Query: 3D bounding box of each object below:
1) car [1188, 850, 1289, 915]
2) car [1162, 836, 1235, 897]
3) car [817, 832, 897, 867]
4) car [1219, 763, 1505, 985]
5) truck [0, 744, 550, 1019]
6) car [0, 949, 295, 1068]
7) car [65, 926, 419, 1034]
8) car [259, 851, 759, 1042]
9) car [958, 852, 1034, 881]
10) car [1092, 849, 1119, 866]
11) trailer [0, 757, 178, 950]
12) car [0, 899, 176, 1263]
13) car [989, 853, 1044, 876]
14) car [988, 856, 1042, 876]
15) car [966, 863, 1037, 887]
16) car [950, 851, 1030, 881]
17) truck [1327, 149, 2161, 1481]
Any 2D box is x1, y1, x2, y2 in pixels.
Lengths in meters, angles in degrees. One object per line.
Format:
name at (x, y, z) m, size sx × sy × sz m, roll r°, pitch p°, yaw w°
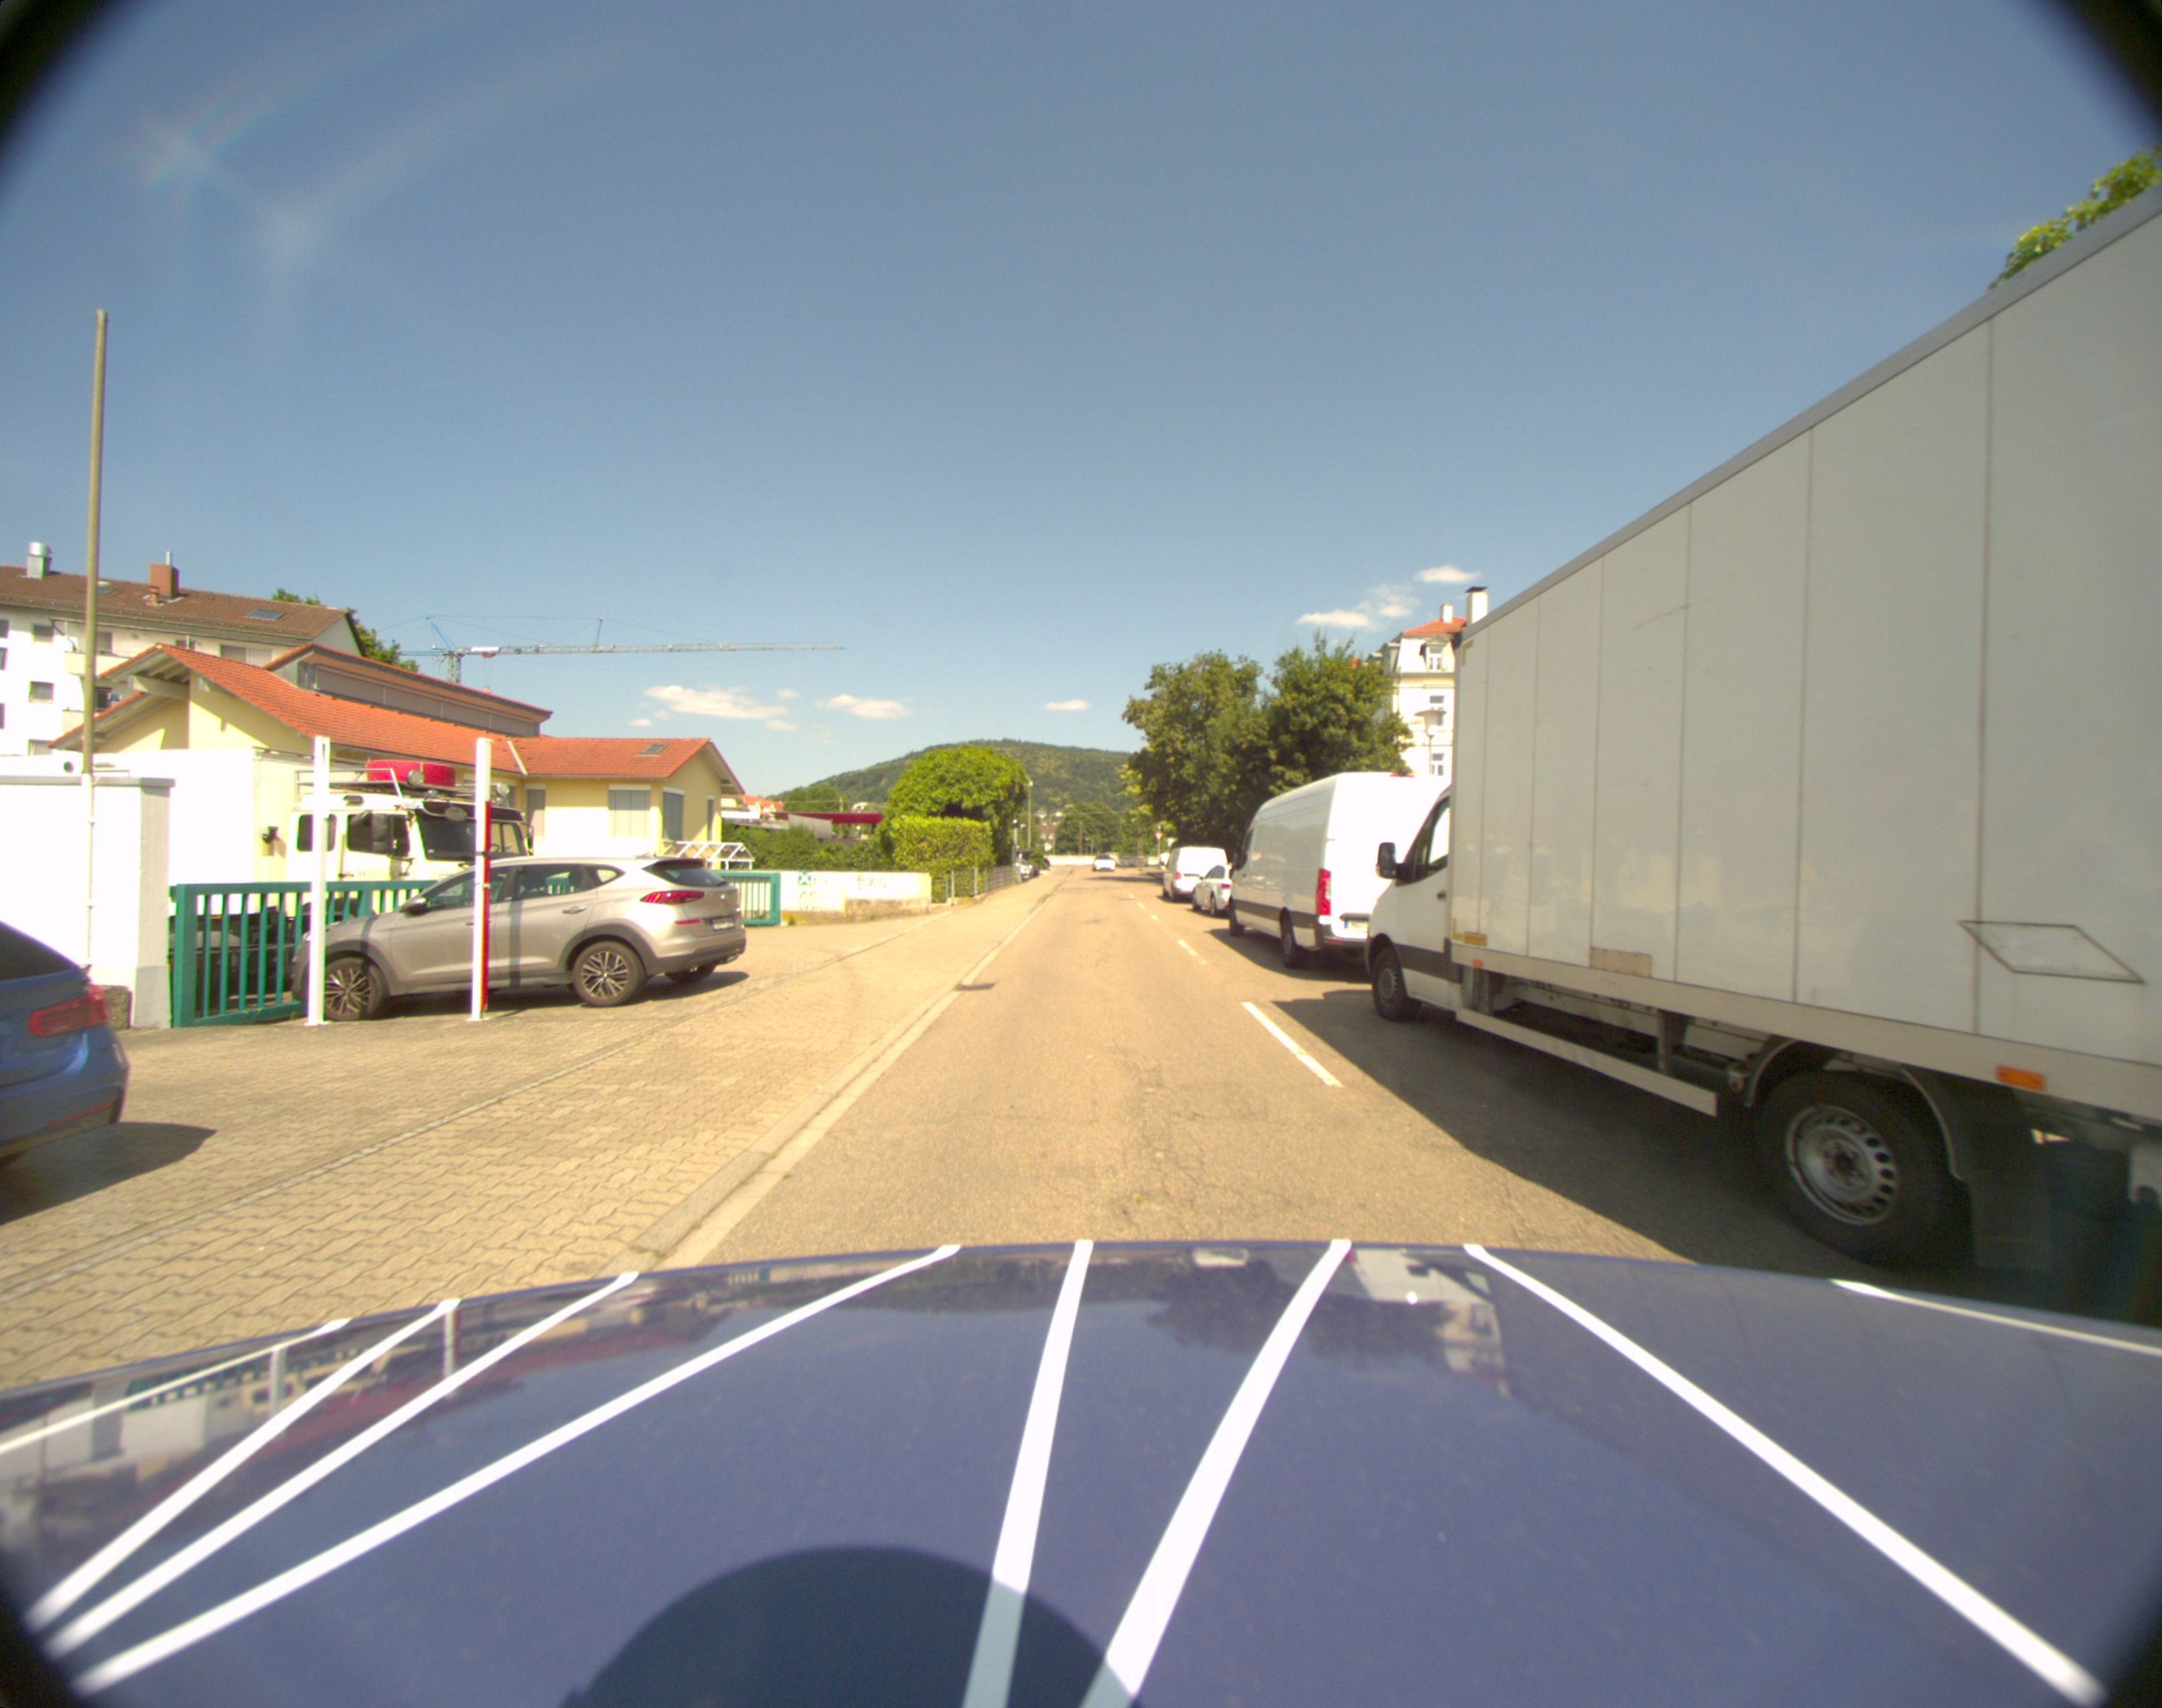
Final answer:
car at (4.234, 0.703, 21.118) m, size 1.718 × 1.535 × 4.399 m, roll 2°, pitch 1°, yaw -1°
car at (4.259, 0.404, 28.314) m, size 1.976 × 2.002 × 5.056 m, roll 2°, pitch 1°, yaw 1°
car at (-18.251, -0.346, 61.828) m, size 6.026 × 2.663 × 2.255 m, roll 1°, pitch 1°, yaw -22°
car at (3.971, 0.206, 12.522) m, size 2.173 × 2.581 × 6.919 m, roll 2°, pitch 1°, yaw 1°
truck at (-12.689, 0.427, 11.408) m, size 7.536 × 3.403 × 2.527 m, roll -3°, pitch 0°, yaw 1°
car at (-10.201, 1.565, 7.814) m, size 2.904 × 0.909 × 1.287 m, roll -3°, pitch 0°, yaw 1°
car at (-10.138, 1.501, 9.310) m, size 2.904 × 0.997 × 1.287 m, roll -3°, pitch 0°, yaw 1°
car at (-6.181, 0.939, 8.605) m, size 4.211 × 1.672 × 1.766 m, roll -4°, pitch 1°, yaw 0°
car at (-5.169, 0.735, 46.438) m, size 4.414 × 1.519 × 1.896 m, roll 2°, pitch 1°, yaw -2°
car at (2.229, 0.270, 69.770) m, size 1.897 × 1.412 × 4.167 m, roll 2°, pitch 1°, yaw -5°
trailer at (-25.565, -0.050, 16.780) m, size 8.350 × 3.840 × 3.069 m, roll 0°, pitch 1°, yaw 6°
car at (-6.535, 0.922, 2.707) m, size 4.363 × 1.433 × 1.892 m, roll 0°, pitch 0°, yaw 0°
car at (-4.609, 0.754, 54.567) m, size 3.812 × 1.614 × 1.759 m, roll 1°, pitch 0°, yaw -1°
car at (-4.451, 0.795, 51.639) m, size 3.558 × 1.327 × 1.558 m, roll 1°, pitch 0°, yaw -1°
car at (-5.086, 1.351, 49.077) m, size 4.414 × 1.488 × 1.897 m, roll 0°, pitch 1°, yaw 0°
car at (-5.215, 0.673, 43.954) m, size 4.414 × 1.644 × 1.843 m, roll 0°, pitch 1°, yaw -2°
truck at (4.058, -0.117, 4.689) m, size 2.692 × 3.347 × 7.129 m, roll 1°, pitch 1°, yaw 0°
